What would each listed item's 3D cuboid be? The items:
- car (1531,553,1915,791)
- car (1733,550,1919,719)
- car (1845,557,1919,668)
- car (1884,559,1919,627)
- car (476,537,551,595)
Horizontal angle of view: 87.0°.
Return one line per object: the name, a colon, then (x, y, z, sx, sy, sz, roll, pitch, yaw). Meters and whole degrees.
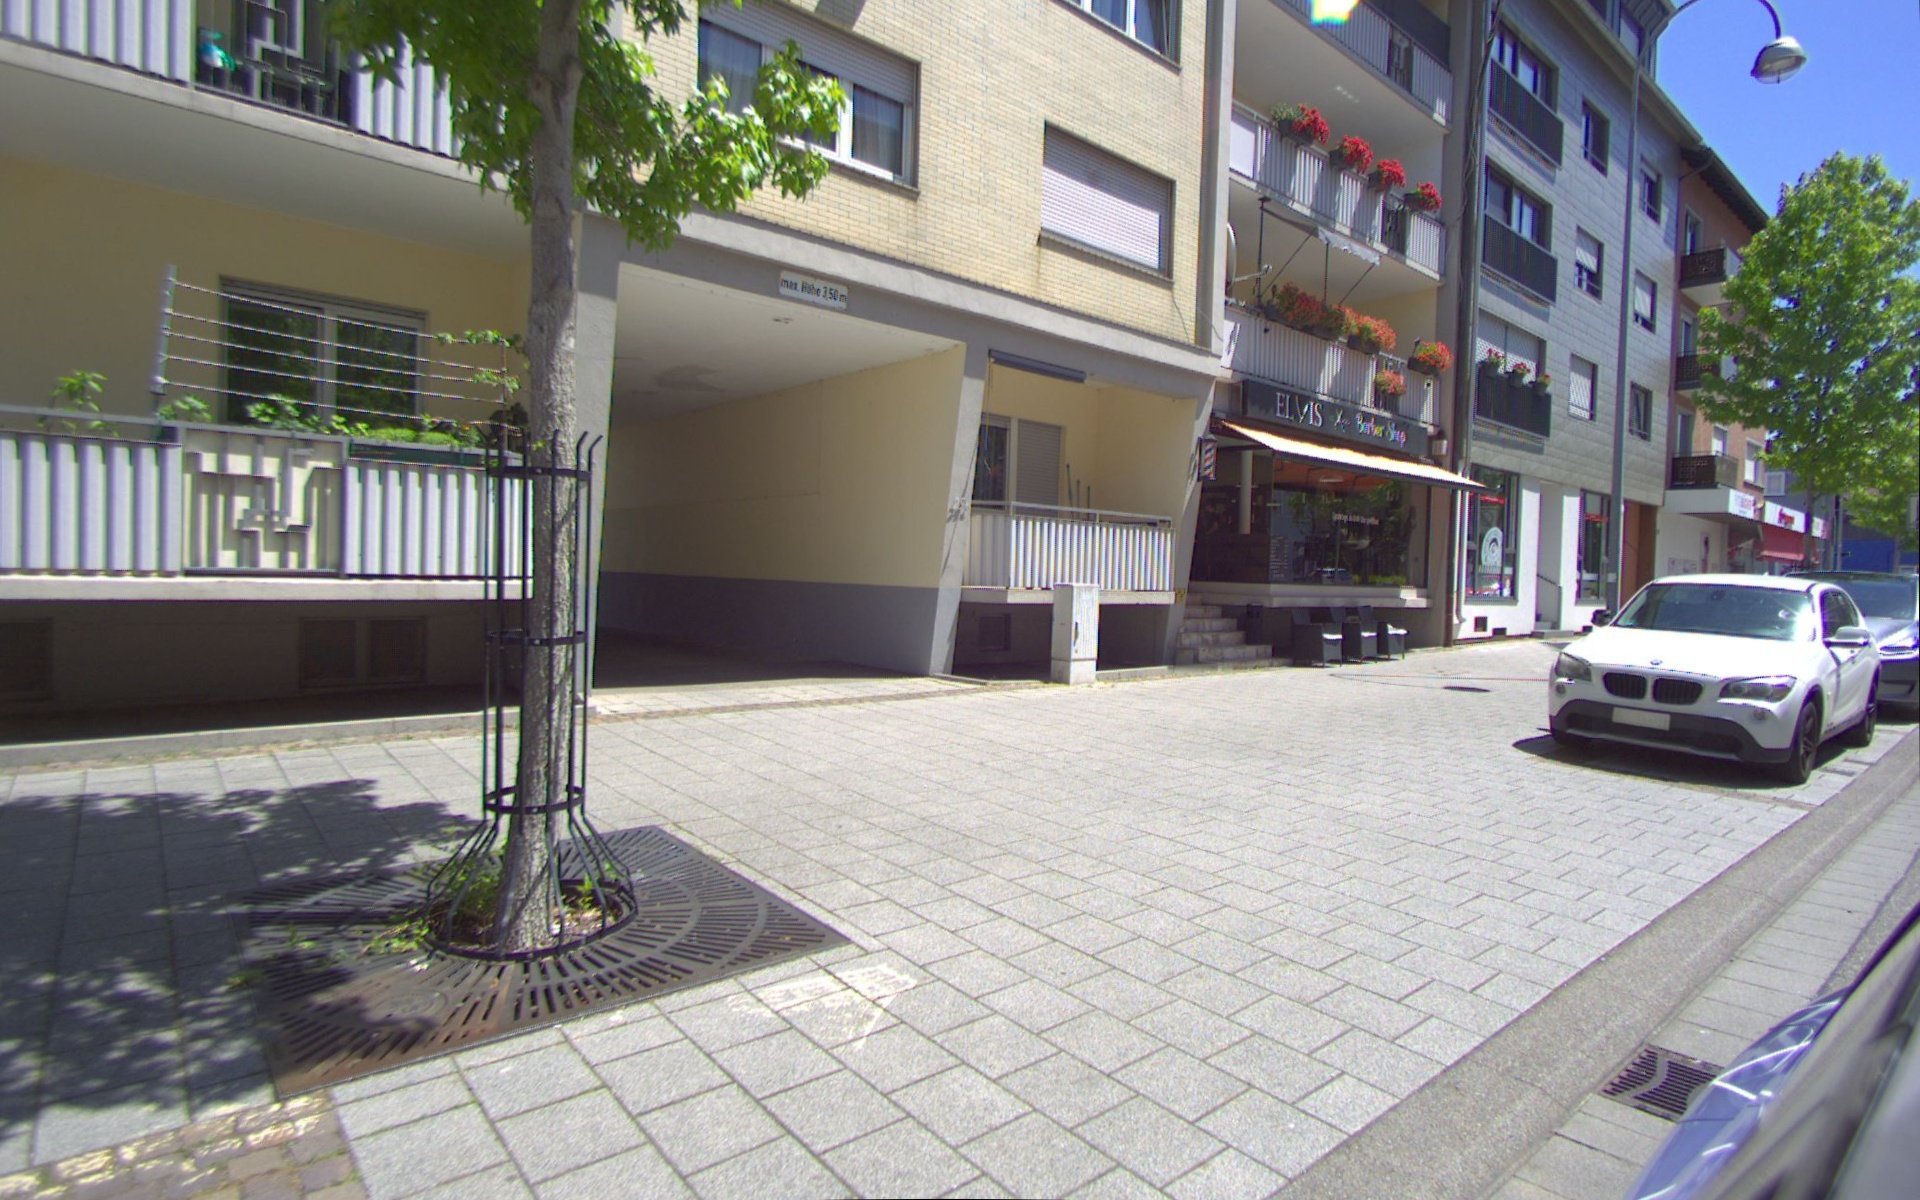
car: (6.863, 0.444, 8.952, 4.149, 1.602, 1.727, -1, 4, -39)
car: (11.336, 0.309, 12.575, 4.623, 1.726, 1.768, -1, 4, -41)
car: (15.084, 0.162, 15.603, 3.773, 1.578, 1.626, -1, 3, -41)
car: (26.404, -0.184, 27.379, 1.745, 1.745, 3.855, 4, 4, 39)
car: (-12.818, -0.972, 28.952, 1.783, 1.553, 3.647, 0, 2, -27)
